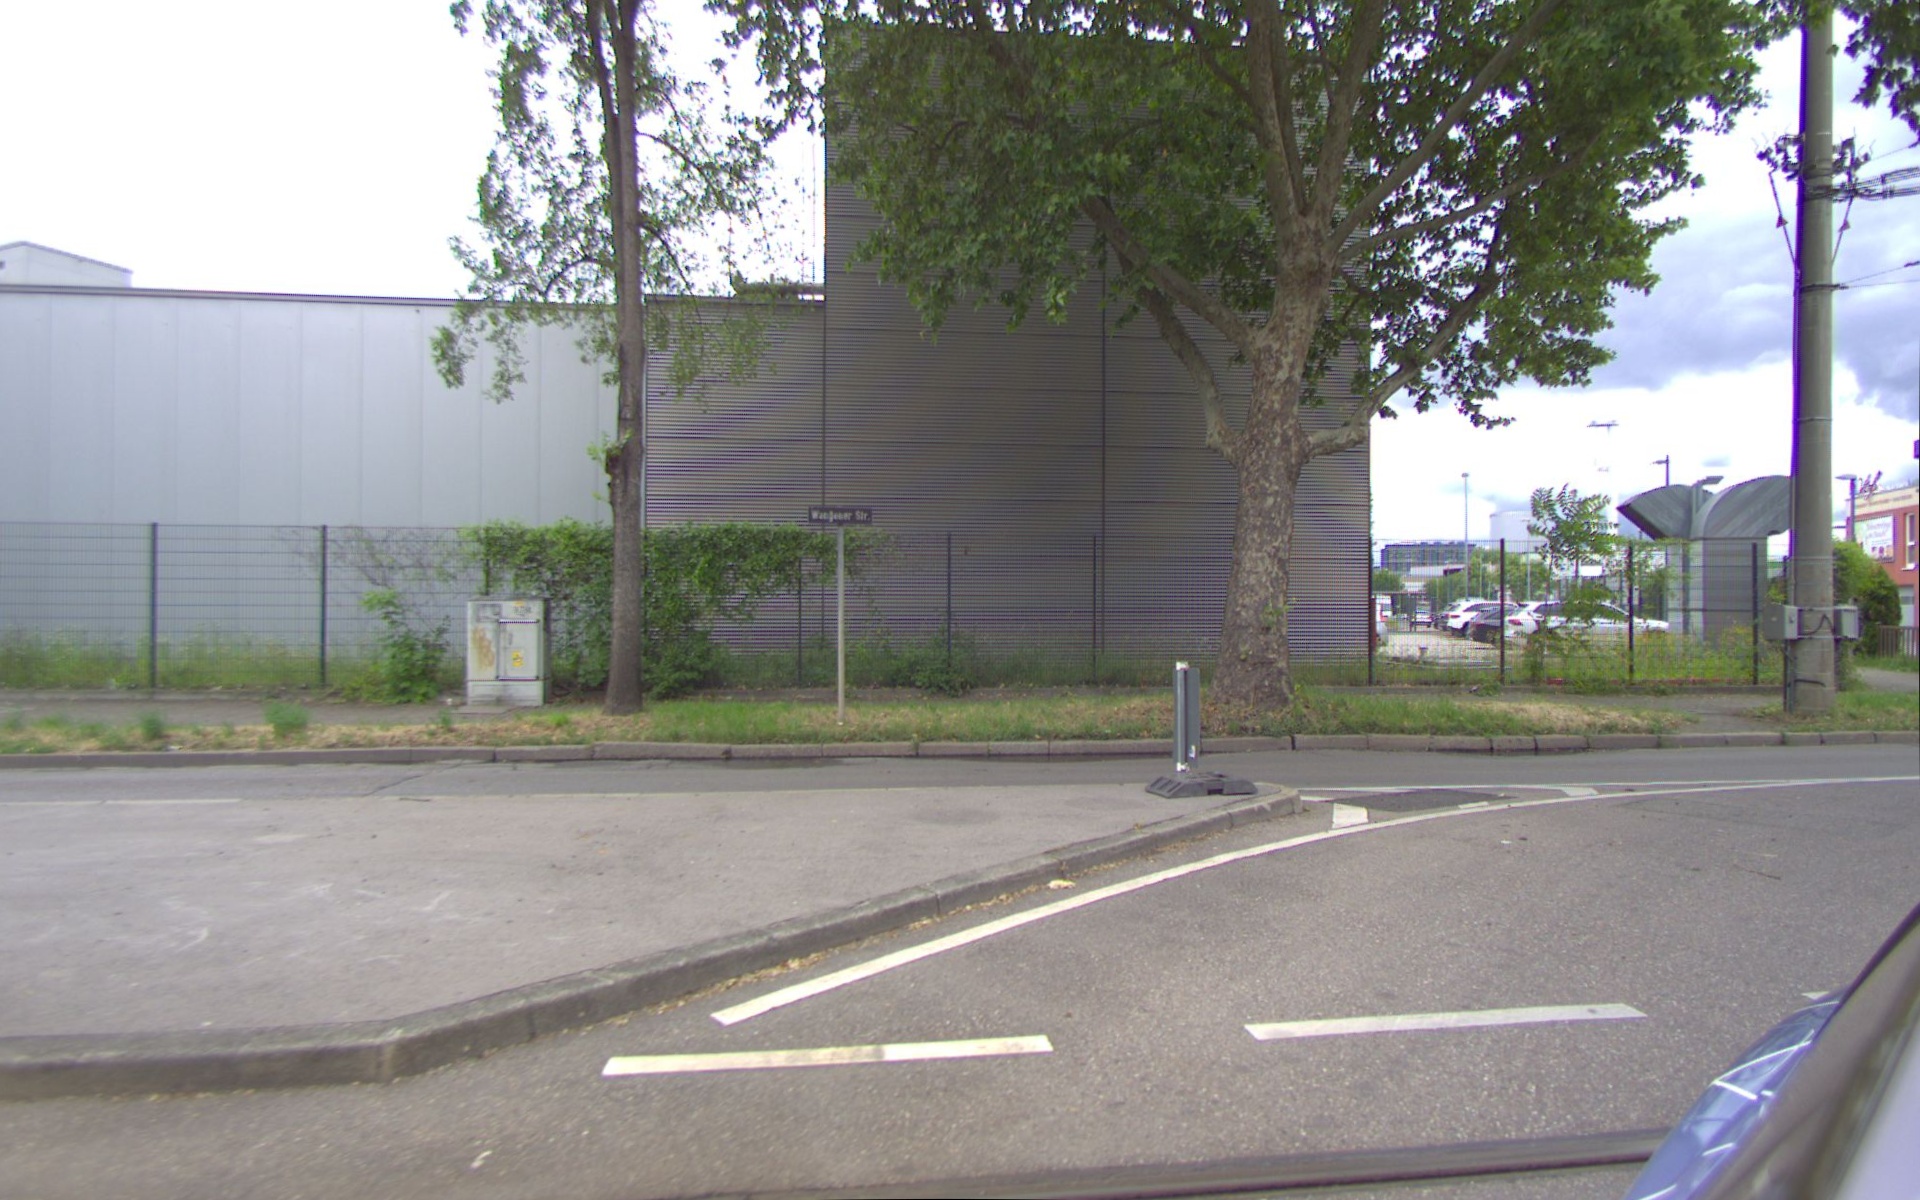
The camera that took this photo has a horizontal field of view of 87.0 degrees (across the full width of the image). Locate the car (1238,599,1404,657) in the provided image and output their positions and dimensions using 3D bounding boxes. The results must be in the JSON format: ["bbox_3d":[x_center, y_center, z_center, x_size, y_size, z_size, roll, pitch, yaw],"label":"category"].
[{"bbox_3d":[10.827,0.859,30.511,4.183,1.671,2.002,0,-3,-9],"label":"car"}]

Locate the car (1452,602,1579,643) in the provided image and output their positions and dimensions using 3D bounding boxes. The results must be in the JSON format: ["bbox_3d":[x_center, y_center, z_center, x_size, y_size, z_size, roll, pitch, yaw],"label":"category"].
[{"bbox_3d":[23.543,0.929,43.077,4.446,1.687,1.986,0,-1,21],"label":"car"}]

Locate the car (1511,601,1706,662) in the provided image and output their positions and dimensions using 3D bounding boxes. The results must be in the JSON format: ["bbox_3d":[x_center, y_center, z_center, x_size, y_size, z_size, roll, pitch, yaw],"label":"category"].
[{"bbox_3d":[18.848,0.878,29.695,4.446,1.687,1.986,0,-1,21],"label":"car"}]

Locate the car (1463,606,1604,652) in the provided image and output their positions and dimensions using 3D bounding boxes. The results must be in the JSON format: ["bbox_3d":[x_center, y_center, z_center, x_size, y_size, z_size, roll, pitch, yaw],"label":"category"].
[{"bbox_3d":[22.003,1.082,39.048,4.446,1.687,1.986,0,-1,21],"label":"car"}]

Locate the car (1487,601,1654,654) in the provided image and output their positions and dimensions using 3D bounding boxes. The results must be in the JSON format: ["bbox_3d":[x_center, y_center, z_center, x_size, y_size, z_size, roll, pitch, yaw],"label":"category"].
[{"bbox_3d":[20.289,0.881,33.870,4.446,1.687,1.986,0,-1,21],"label":"car"}]

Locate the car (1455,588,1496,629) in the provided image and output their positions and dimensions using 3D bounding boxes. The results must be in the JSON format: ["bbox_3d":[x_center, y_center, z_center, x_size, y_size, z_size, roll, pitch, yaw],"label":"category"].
[{"bbox_3d":[40.715,0.713,80.048,1.948,3.002,5.553,-2,-4,18],"label":"car"}]
